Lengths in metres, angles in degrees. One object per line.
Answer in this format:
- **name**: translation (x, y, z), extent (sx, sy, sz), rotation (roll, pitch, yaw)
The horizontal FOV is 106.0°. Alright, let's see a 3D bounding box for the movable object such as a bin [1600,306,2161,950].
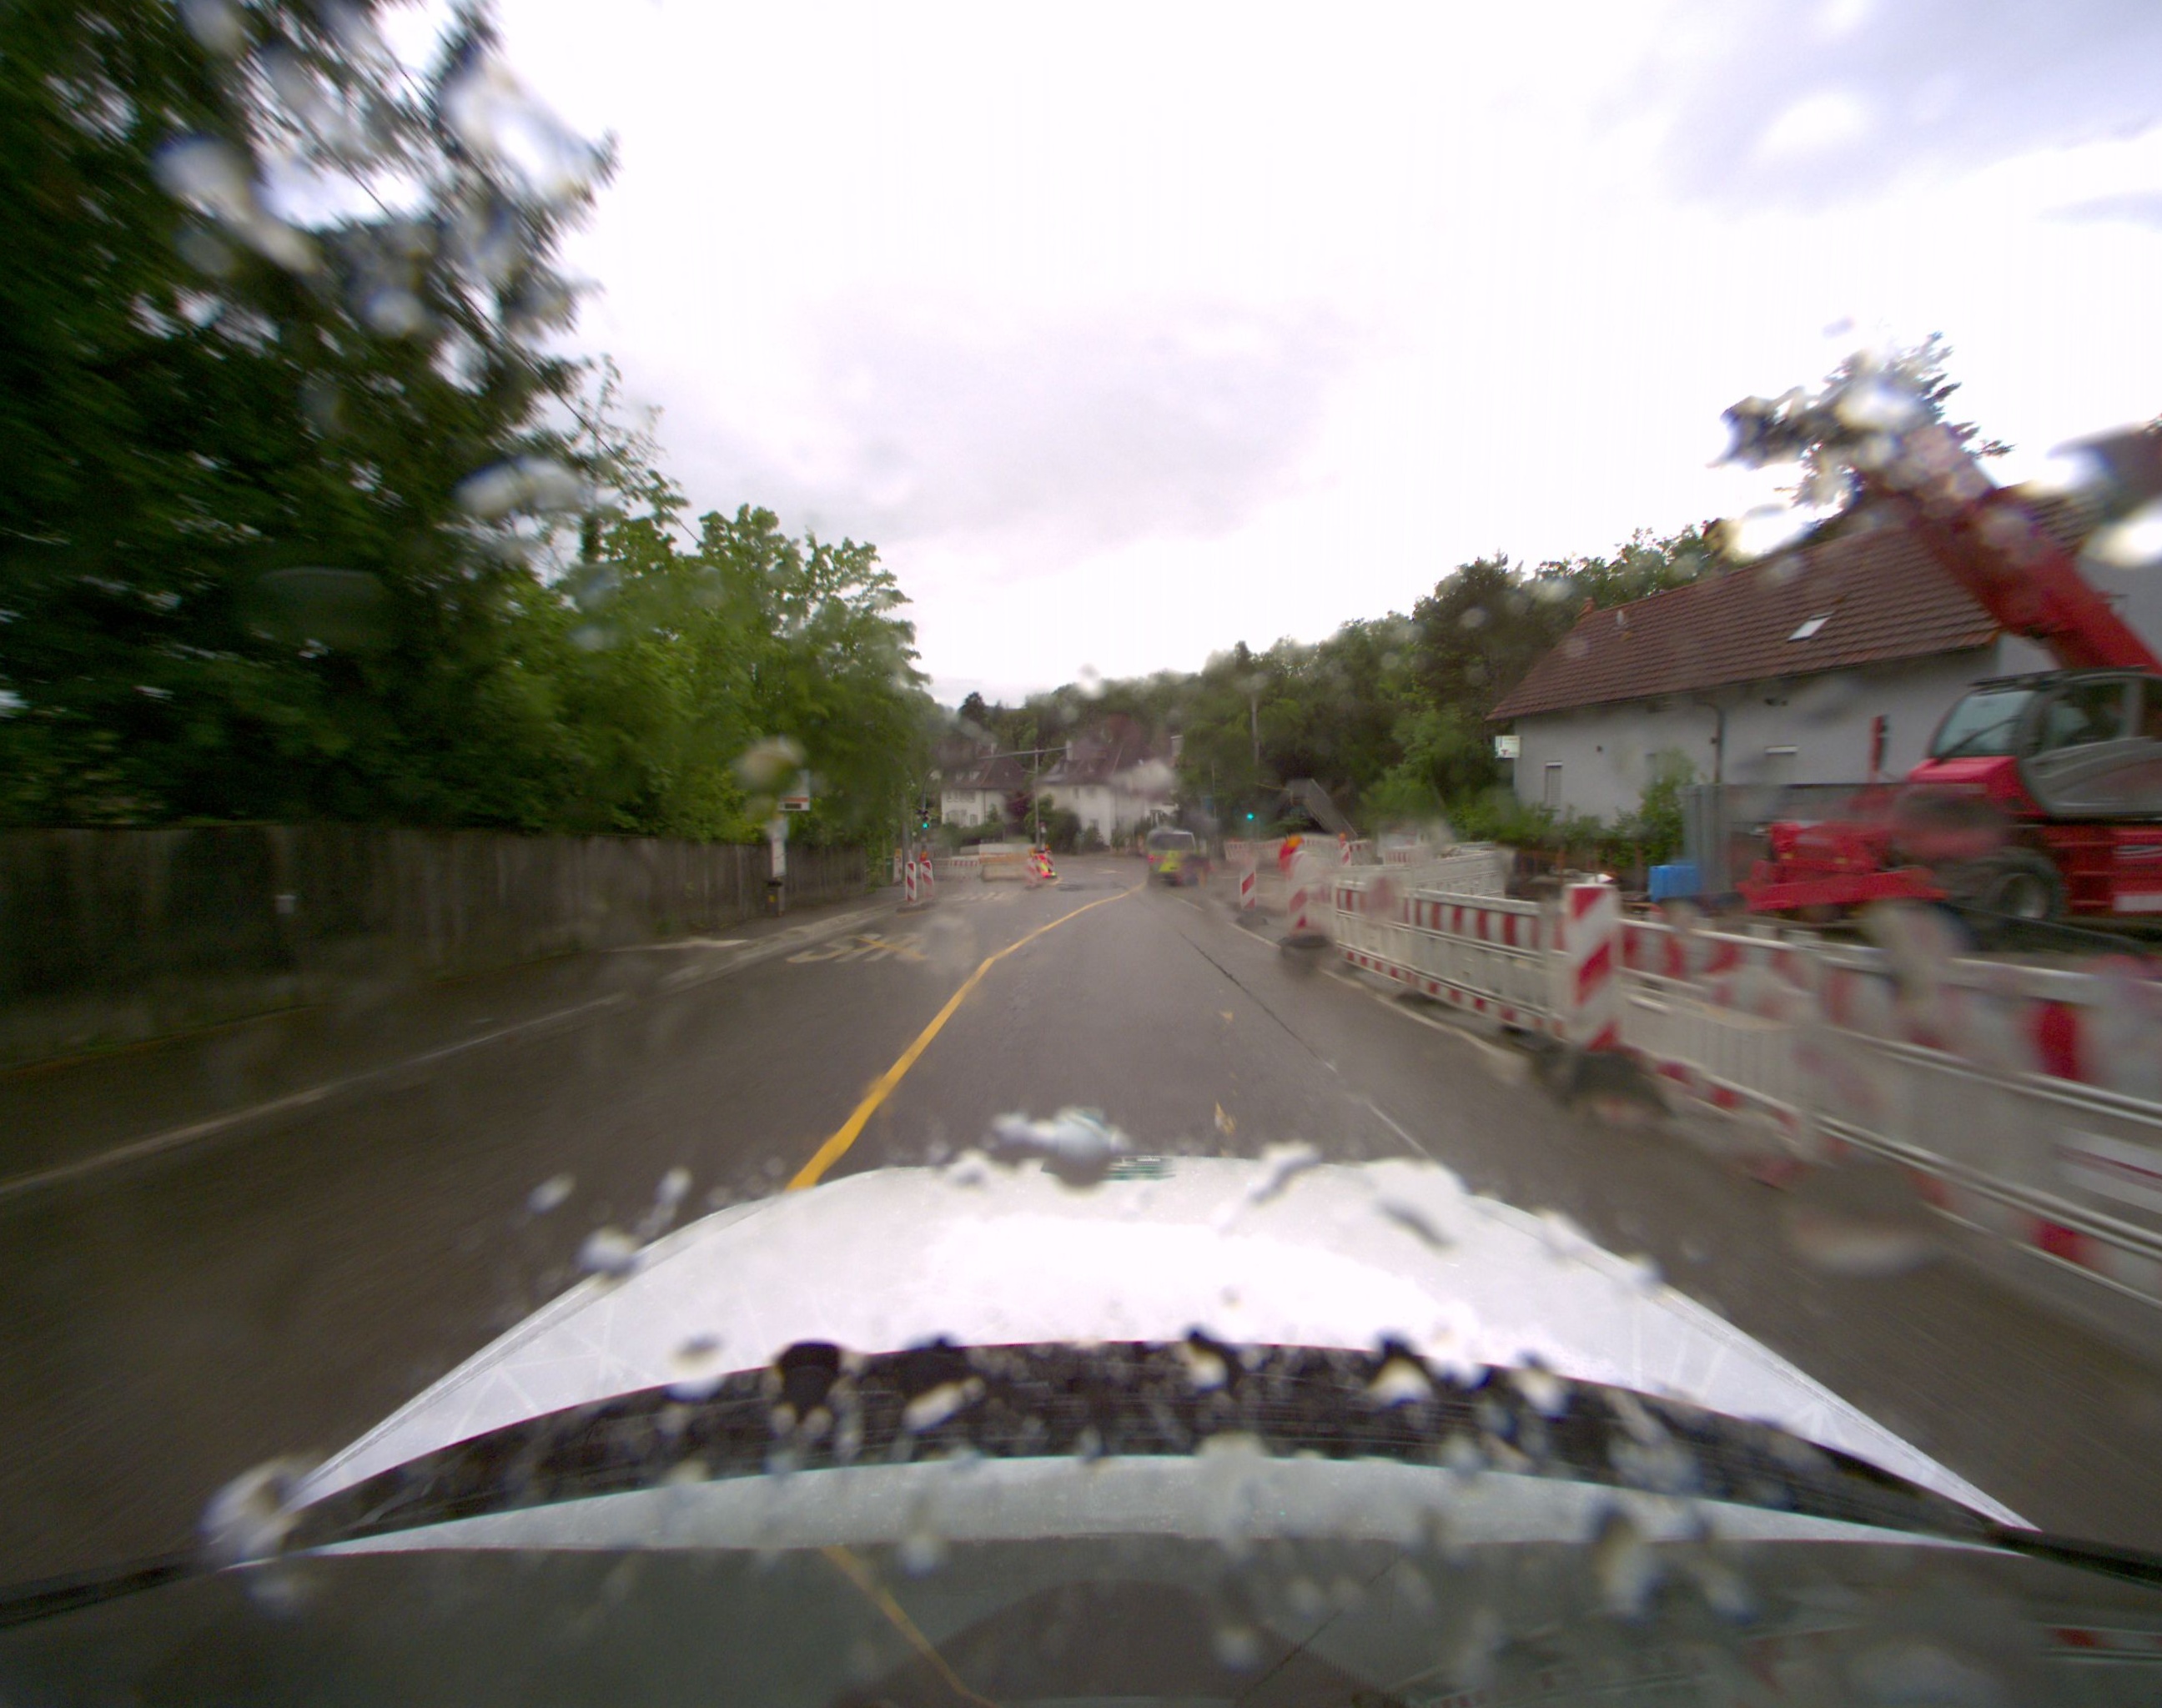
- **movable object such as a bin**: translation (10.929, -2.425, 10.243), extent (6.936, 6.689, 3.041), rotation (-1, 0, -4)

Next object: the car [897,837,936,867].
- **car**: translation (-11.400, -0.135, 56.116), extent (2.000, 2.013, 4.775), rotation (-1, 0, -19)

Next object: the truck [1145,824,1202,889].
- **truck**: translation (3.616, 0.024, 31.229), extent (1.982, 2.012, 4.748), rotation (-2, 5, 8)
